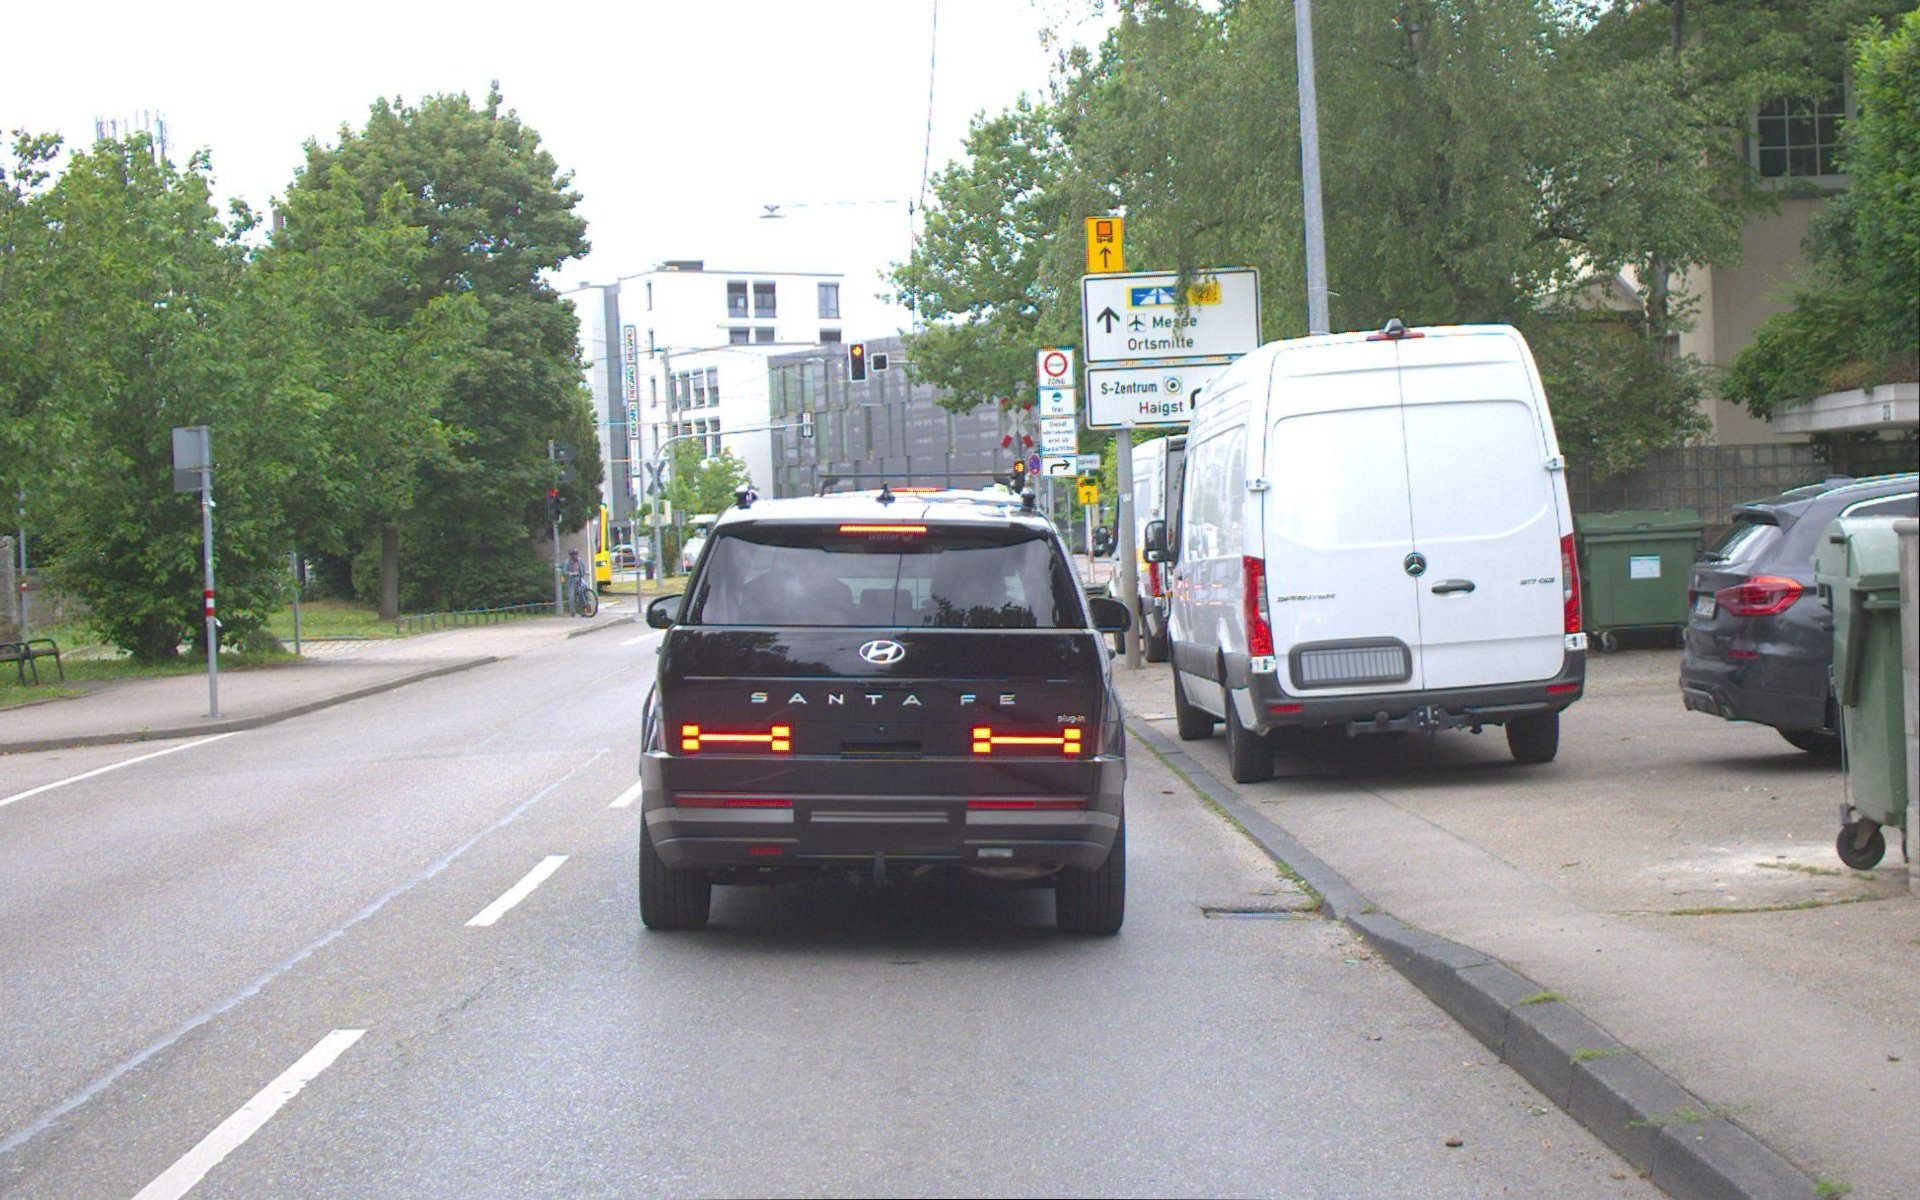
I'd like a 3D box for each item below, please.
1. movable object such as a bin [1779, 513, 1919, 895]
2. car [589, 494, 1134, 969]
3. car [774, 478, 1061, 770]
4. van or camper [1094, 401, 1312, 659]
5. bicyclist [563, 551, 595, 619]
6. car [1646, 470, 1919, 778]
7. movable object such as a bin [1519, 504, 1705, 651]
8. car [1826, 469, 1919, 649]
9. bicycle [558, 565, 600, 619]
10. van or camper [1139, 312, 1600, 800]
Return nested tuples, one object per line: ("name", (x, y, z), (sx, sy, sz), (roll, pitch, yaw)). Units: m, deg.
("movable object such as a bin", (4.093, 0.364, 13.695), (1.299, 1.445, 1.181), (-3, 0, 0))
("car", (-0.384, 0.450, 14.491), (1.963, 1.705, 4.000), (-1, 1, -1))
("car", (-0.340, 0.136, 25.749), (1.963, 1.994, 4.000), (-1, 1, -1))
("van or camper", (2.843, -0.823, 41.380), (1.963, 2.787, 5.287), (-4, 1, -1))
("bicyclist", (-9.354, -0.354, 84.403), (0.675, 1.653, 0.859), (0, -1, -14))
("car", (6.356, 0.049, 19.816), (4.394, 1.646, 1.830), (-2, 1, 1))
("movable object such as a bin", (6.727, -0.237, 35.594), (1.449, 1.468, 1.718), (-1, 1, -6))
("car", (10.720, -0.420, 33.573), (3.986, 1.705, 1.970), (-1, 1, -2))
("bicycle", (-9.352, -0.181, 84.372), (0.675, 1.275, 2.501), (0, -1, -14))
("van or camper", (2.475, -0.292, 22.556), (1.963, 2.619, 6.359), (-4, 1, -1))
